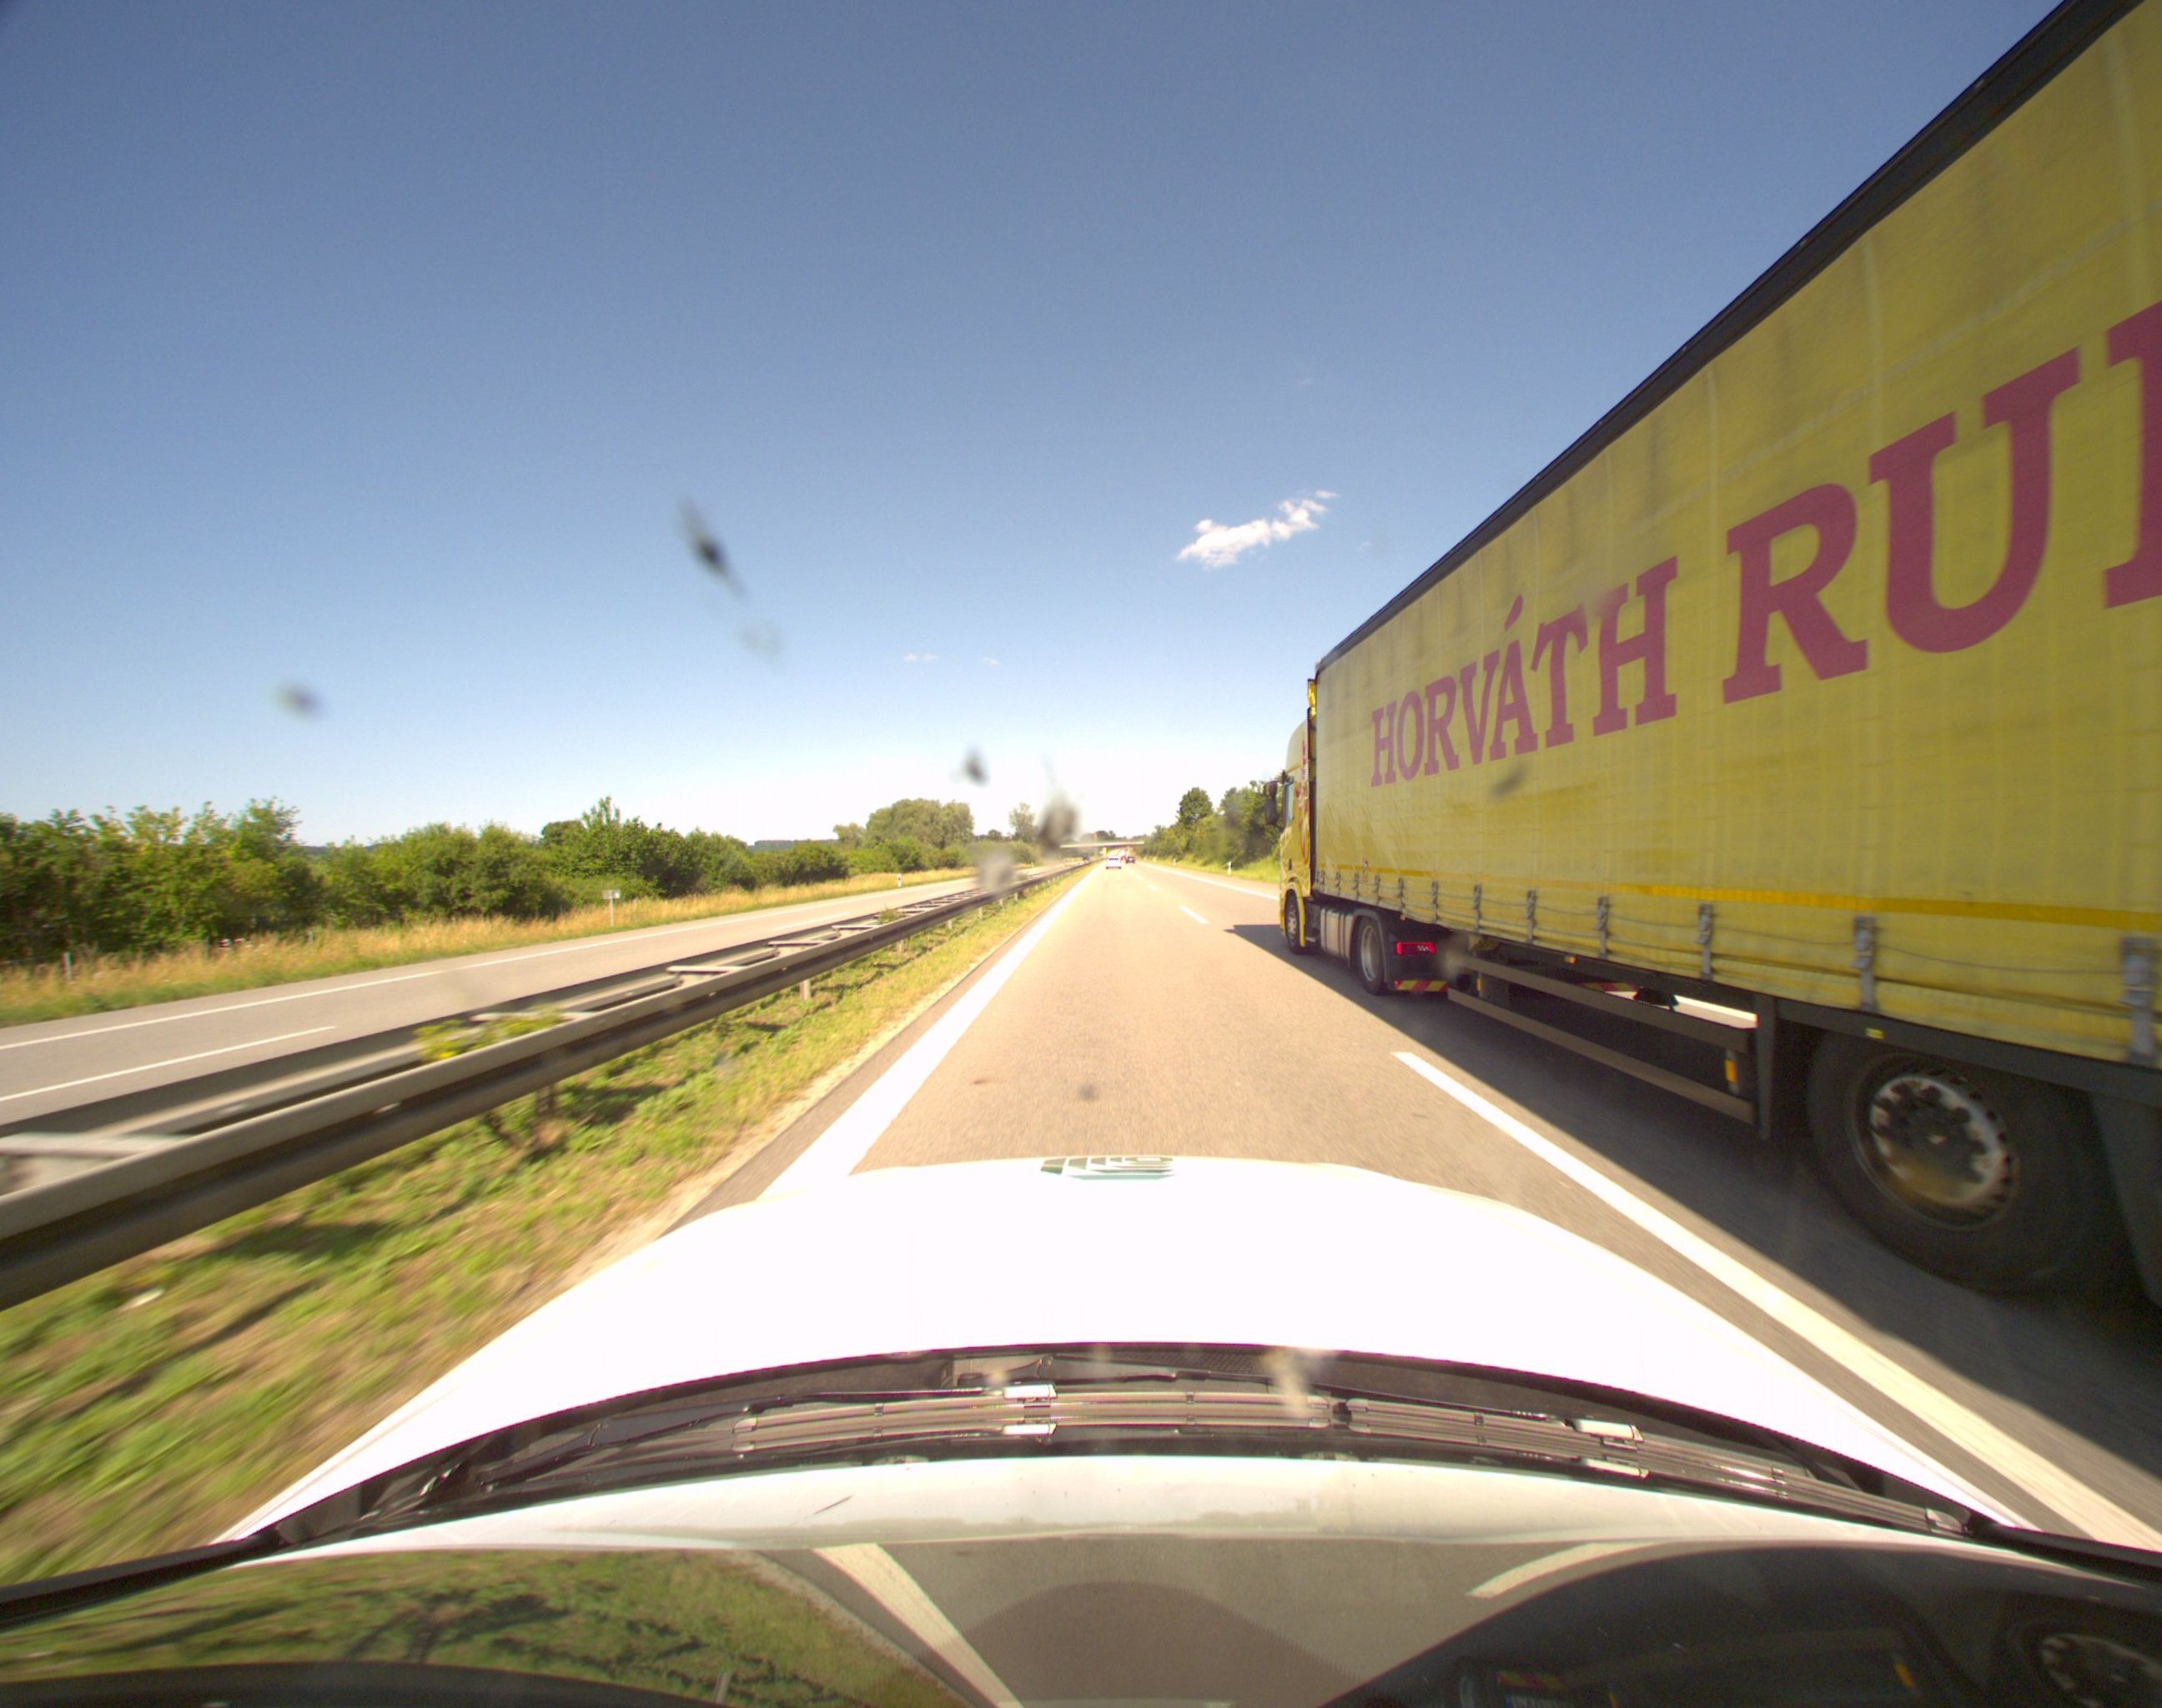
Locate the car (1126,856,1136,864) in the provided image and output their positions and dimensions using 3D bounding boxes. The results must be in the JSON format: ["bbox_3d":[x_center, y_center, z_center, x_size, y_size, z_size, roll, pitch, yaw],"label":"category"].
[{"bbox_3d":[9.933,1.174,161.728,1.836,1.520,4.002,0,0,2],"label":"car"}]

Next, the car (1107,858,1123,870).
[{"bbox_3d":[3.953,1.180,95.279,1.836,1.415,4.002,0,0,2],"label":"car"}]

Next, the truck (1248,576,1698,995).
[{"bbox_3d":[4.498,-0.653,11.184,3.158,4.114,6.388,0,-1,0],"label":"truck"}]

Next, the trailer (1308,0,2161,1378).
[{"bbox_3d":[4.353,-0.701,3.969,3.173,4.059,13.190,0,0,2],"label":"trailer"}]
